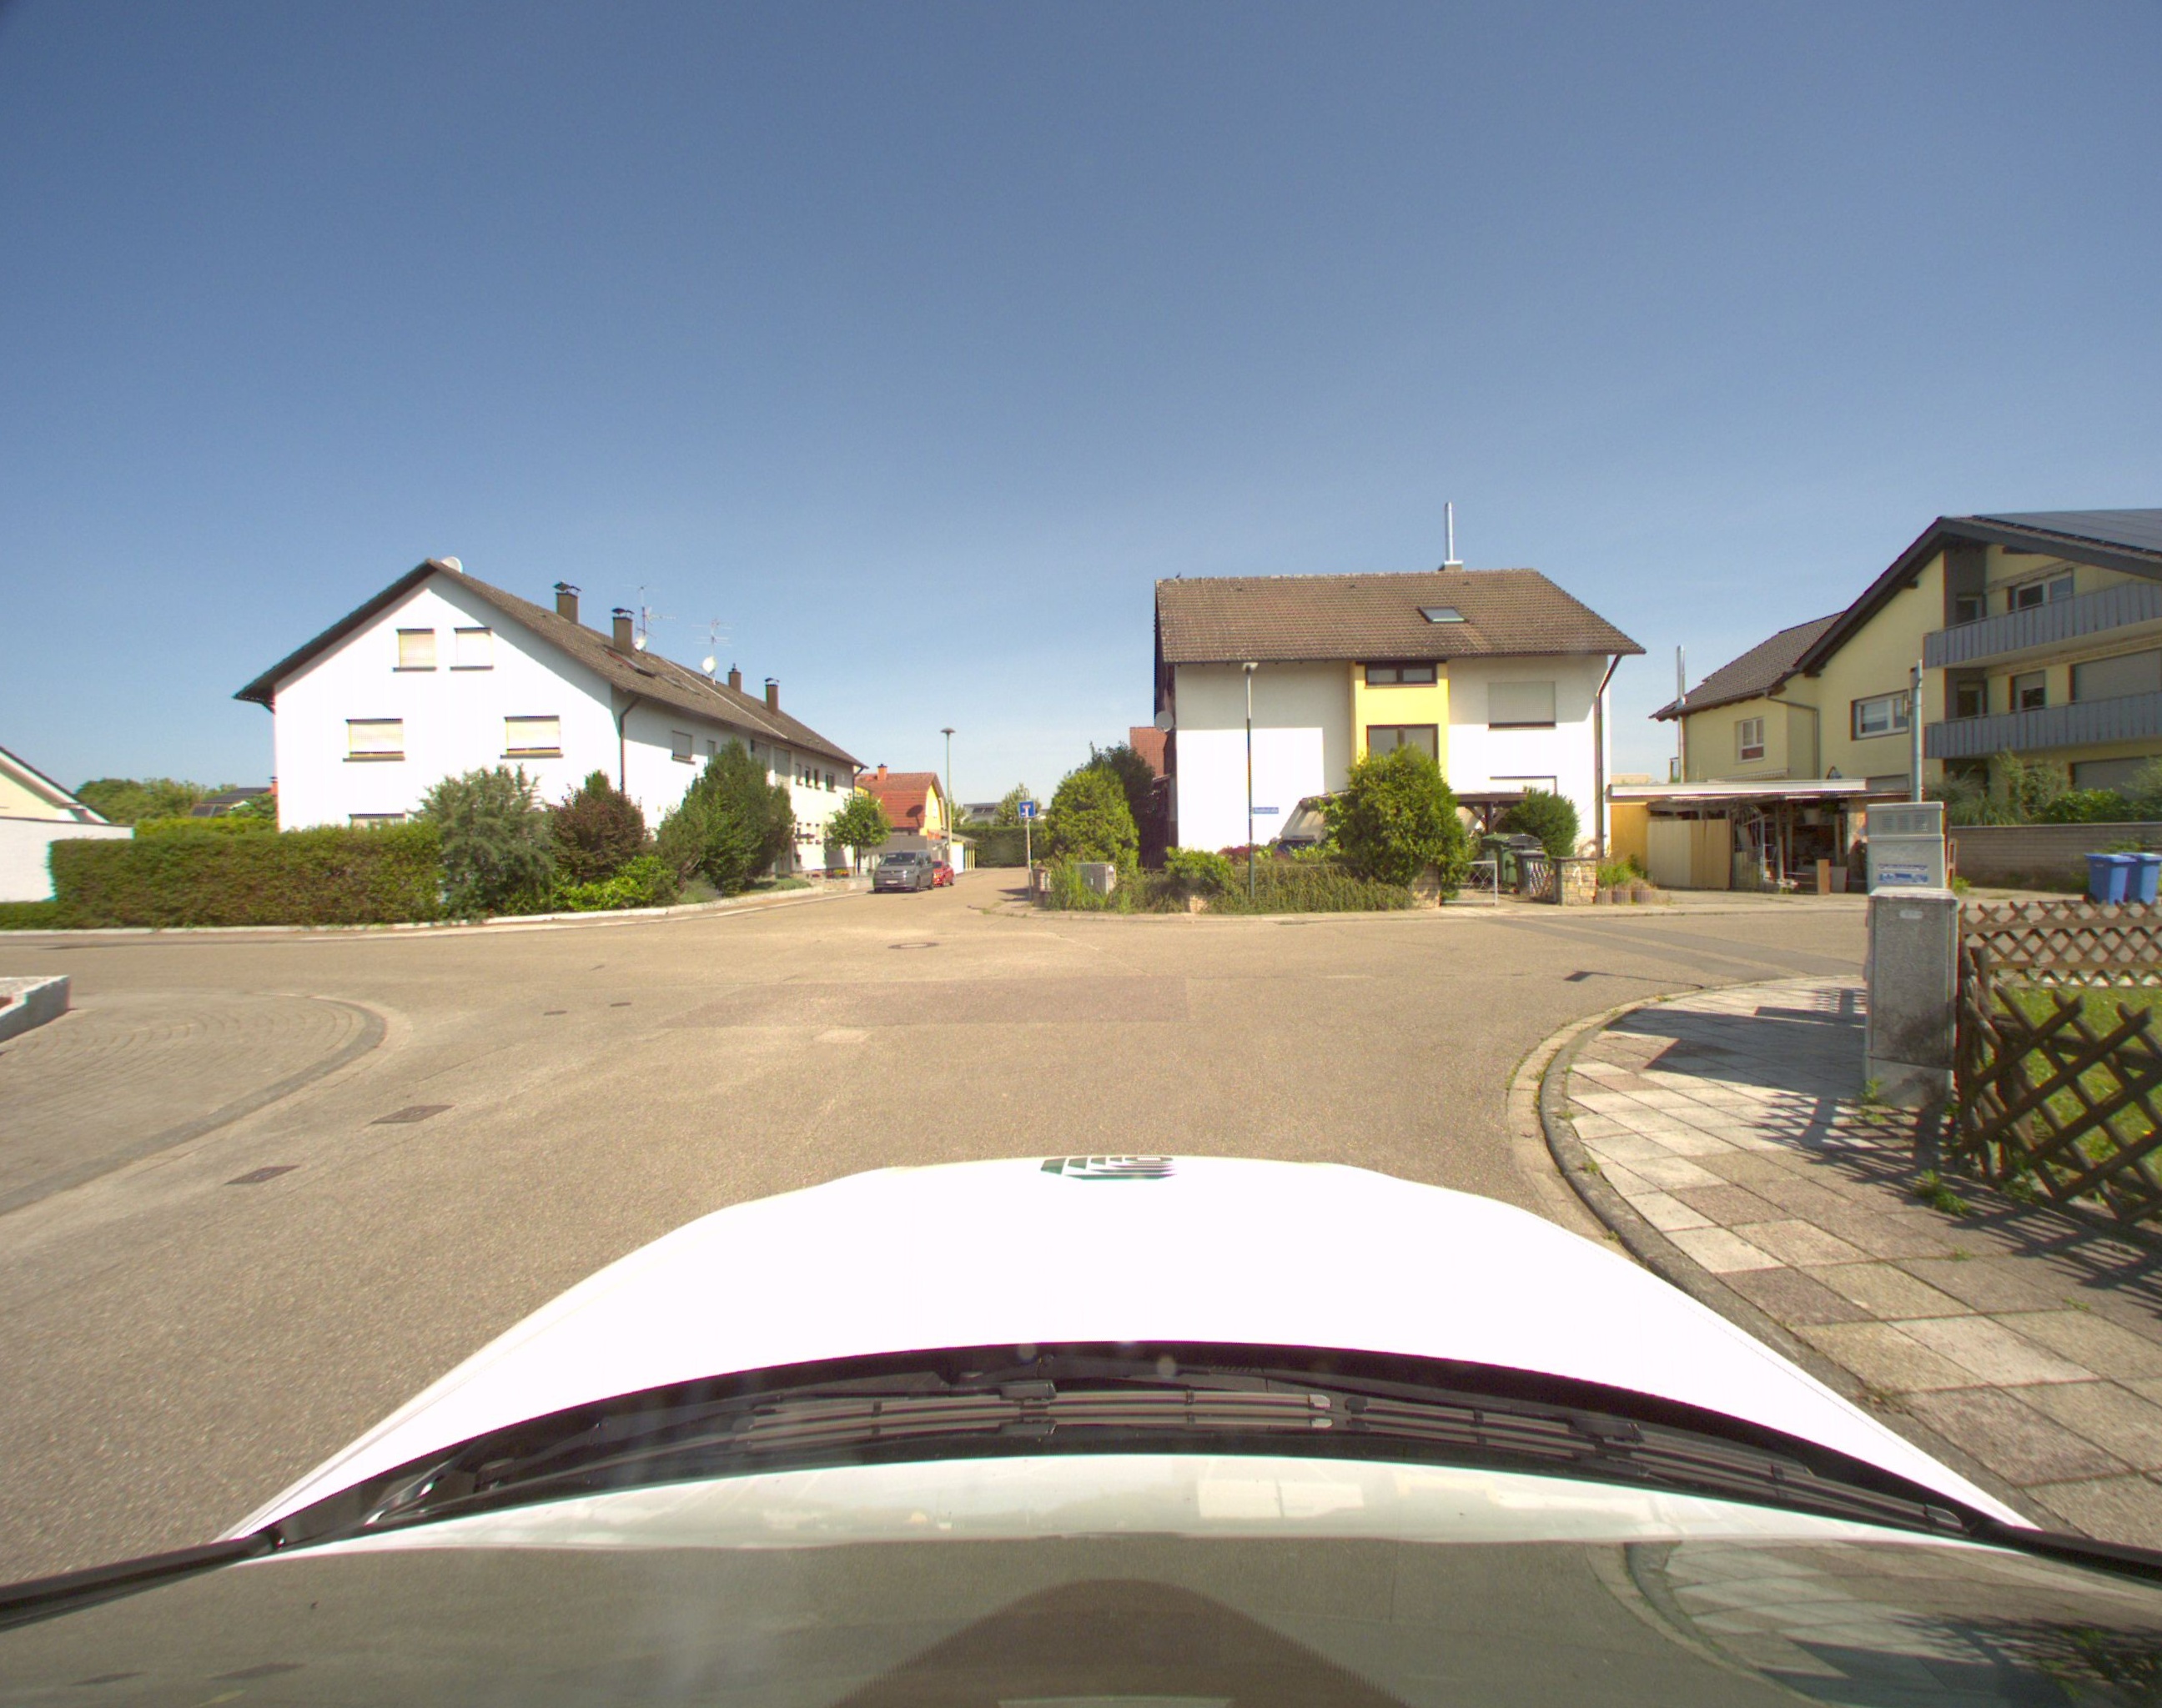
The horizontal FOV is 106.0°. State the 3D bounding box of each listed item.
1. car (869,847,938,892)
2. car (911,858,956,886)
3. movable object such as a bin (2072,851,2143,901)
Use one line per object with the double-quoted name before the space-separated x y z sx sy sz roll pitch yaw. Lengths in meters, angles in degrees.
"car" -7.978 0.661 37.018 1.893 1.869 4.375 -1 0 3
"car" -7.851 0.945 43.588 1.646 1.365 3.779 -1 0 0
"movable object such as a bin" 19.370 0.406 15.377 0.594 0.916 0.585 -1 0 2
